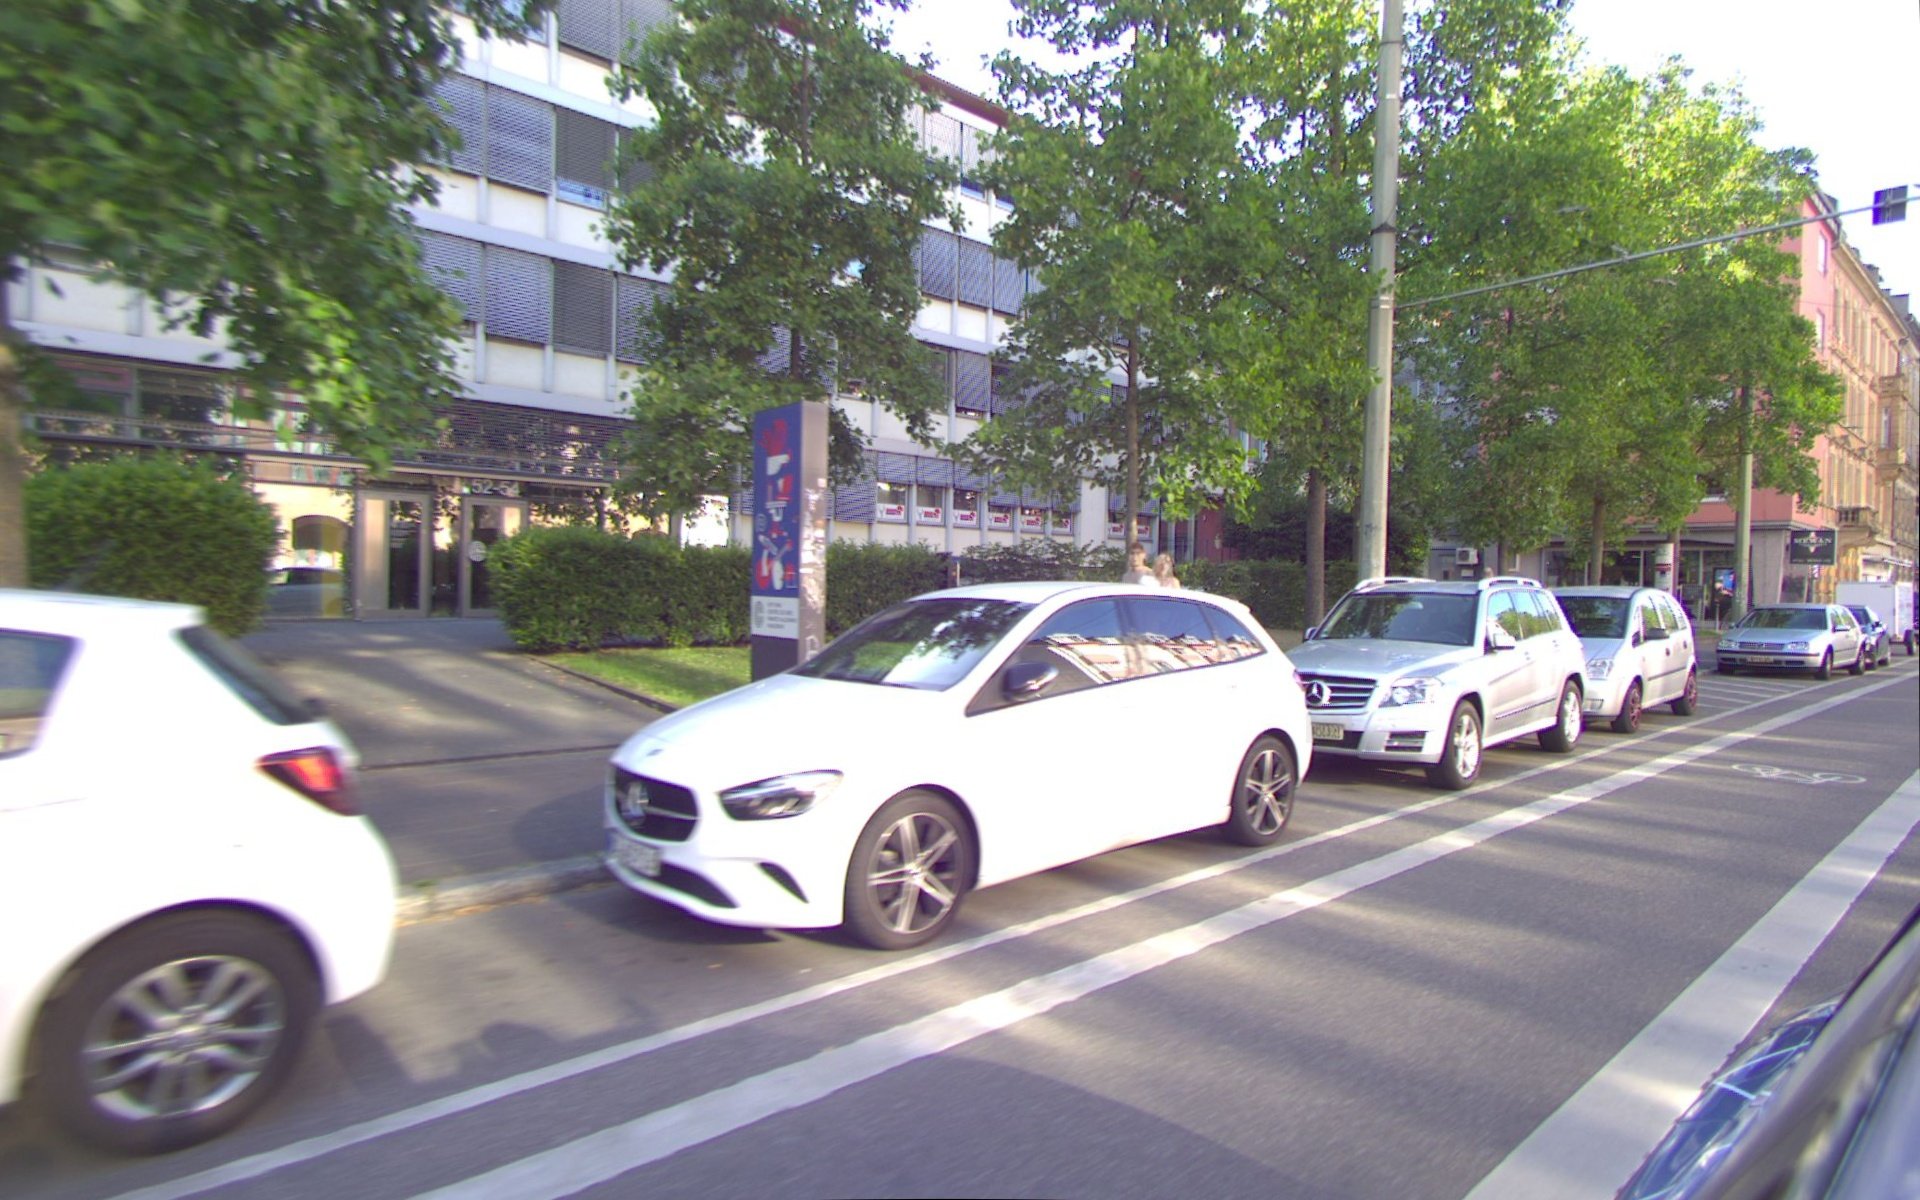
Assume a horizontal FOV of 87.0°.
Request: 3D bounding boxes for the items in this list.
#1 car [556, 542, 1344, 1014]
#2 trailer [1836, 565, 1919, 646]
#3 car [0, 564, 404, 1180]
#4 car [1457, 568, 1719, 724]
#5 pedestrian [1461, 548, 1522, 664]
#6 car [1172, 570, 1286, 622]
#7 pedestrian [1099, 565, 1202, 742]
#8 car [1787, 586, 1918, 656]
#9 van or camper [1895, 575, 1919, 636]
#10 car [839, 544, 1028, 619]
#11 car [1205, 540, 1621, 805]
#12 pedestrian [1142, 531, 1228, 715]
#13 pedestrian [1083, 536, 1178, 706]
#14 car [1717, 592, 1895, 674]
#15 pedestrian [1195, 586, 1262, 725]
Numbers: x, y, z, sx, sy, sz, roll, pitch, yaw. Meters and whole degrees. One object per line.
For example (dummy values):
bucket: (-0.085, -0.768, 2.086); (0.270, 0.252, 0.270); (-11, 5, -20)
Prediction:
car: (0.301, 0.590, 5.467); (4.368, 1.590, 1.543); (0, 0, -43)
trailer: (26.149, 0.129, 28.496); (3.774, 2.143, 1.664); (0, 0, -40)
car: (-3.579, 0.659, 2.276); (3.820, 1.462, 1.603); (-1, 0, -44)
car: (7.785, 0.475, 12.399); (3.995, 1.610, 1.716); (0, 0, -42)
pedestrian: (8.613, 0.082, 16.410); (0.591, 1.830, 0.613); (0, 2, -36)
car: (8.387, -0.151, 31.382); (1.789, 1.482, 3.939); (2, 2, 42)
pedestrian: (1.748, 0.465, 9.318); (0.613, 1.551, 0.643); (1, 1, -37)
car: (20.525, 0.434, 23.215); (4.250, 1.453, 1.804); (0, -1, -43)
van or camper: (34.658, 0.189, 35.769); (5.240, 2.071, 1.973); (0, 0, -43)
car: (-0.538, -0.397, 23.437); (4.238, 1.556, 1.791); (2, 1, -44)
car: (4.395, 0.501, 9.404); (4.633, 1.857, 1.927); (0, 0, -44)
pedestrian: (2.509, 0.243, 11.307); (0.733, 1.977, 0.467); (0, 4, -36)
pedestrian: (2.024, 0.229, 12.012); (0.733, 1.920, 0.671); (1, 4, -36)
car: (16.930, 0.595, 20.194); (4.234, 1.461, 1.755); (0, 1, -36)
pedestrian: (2.869, 0.579, 10.836); (0.415, 1.415, 0.457); (0, 4, -36)
